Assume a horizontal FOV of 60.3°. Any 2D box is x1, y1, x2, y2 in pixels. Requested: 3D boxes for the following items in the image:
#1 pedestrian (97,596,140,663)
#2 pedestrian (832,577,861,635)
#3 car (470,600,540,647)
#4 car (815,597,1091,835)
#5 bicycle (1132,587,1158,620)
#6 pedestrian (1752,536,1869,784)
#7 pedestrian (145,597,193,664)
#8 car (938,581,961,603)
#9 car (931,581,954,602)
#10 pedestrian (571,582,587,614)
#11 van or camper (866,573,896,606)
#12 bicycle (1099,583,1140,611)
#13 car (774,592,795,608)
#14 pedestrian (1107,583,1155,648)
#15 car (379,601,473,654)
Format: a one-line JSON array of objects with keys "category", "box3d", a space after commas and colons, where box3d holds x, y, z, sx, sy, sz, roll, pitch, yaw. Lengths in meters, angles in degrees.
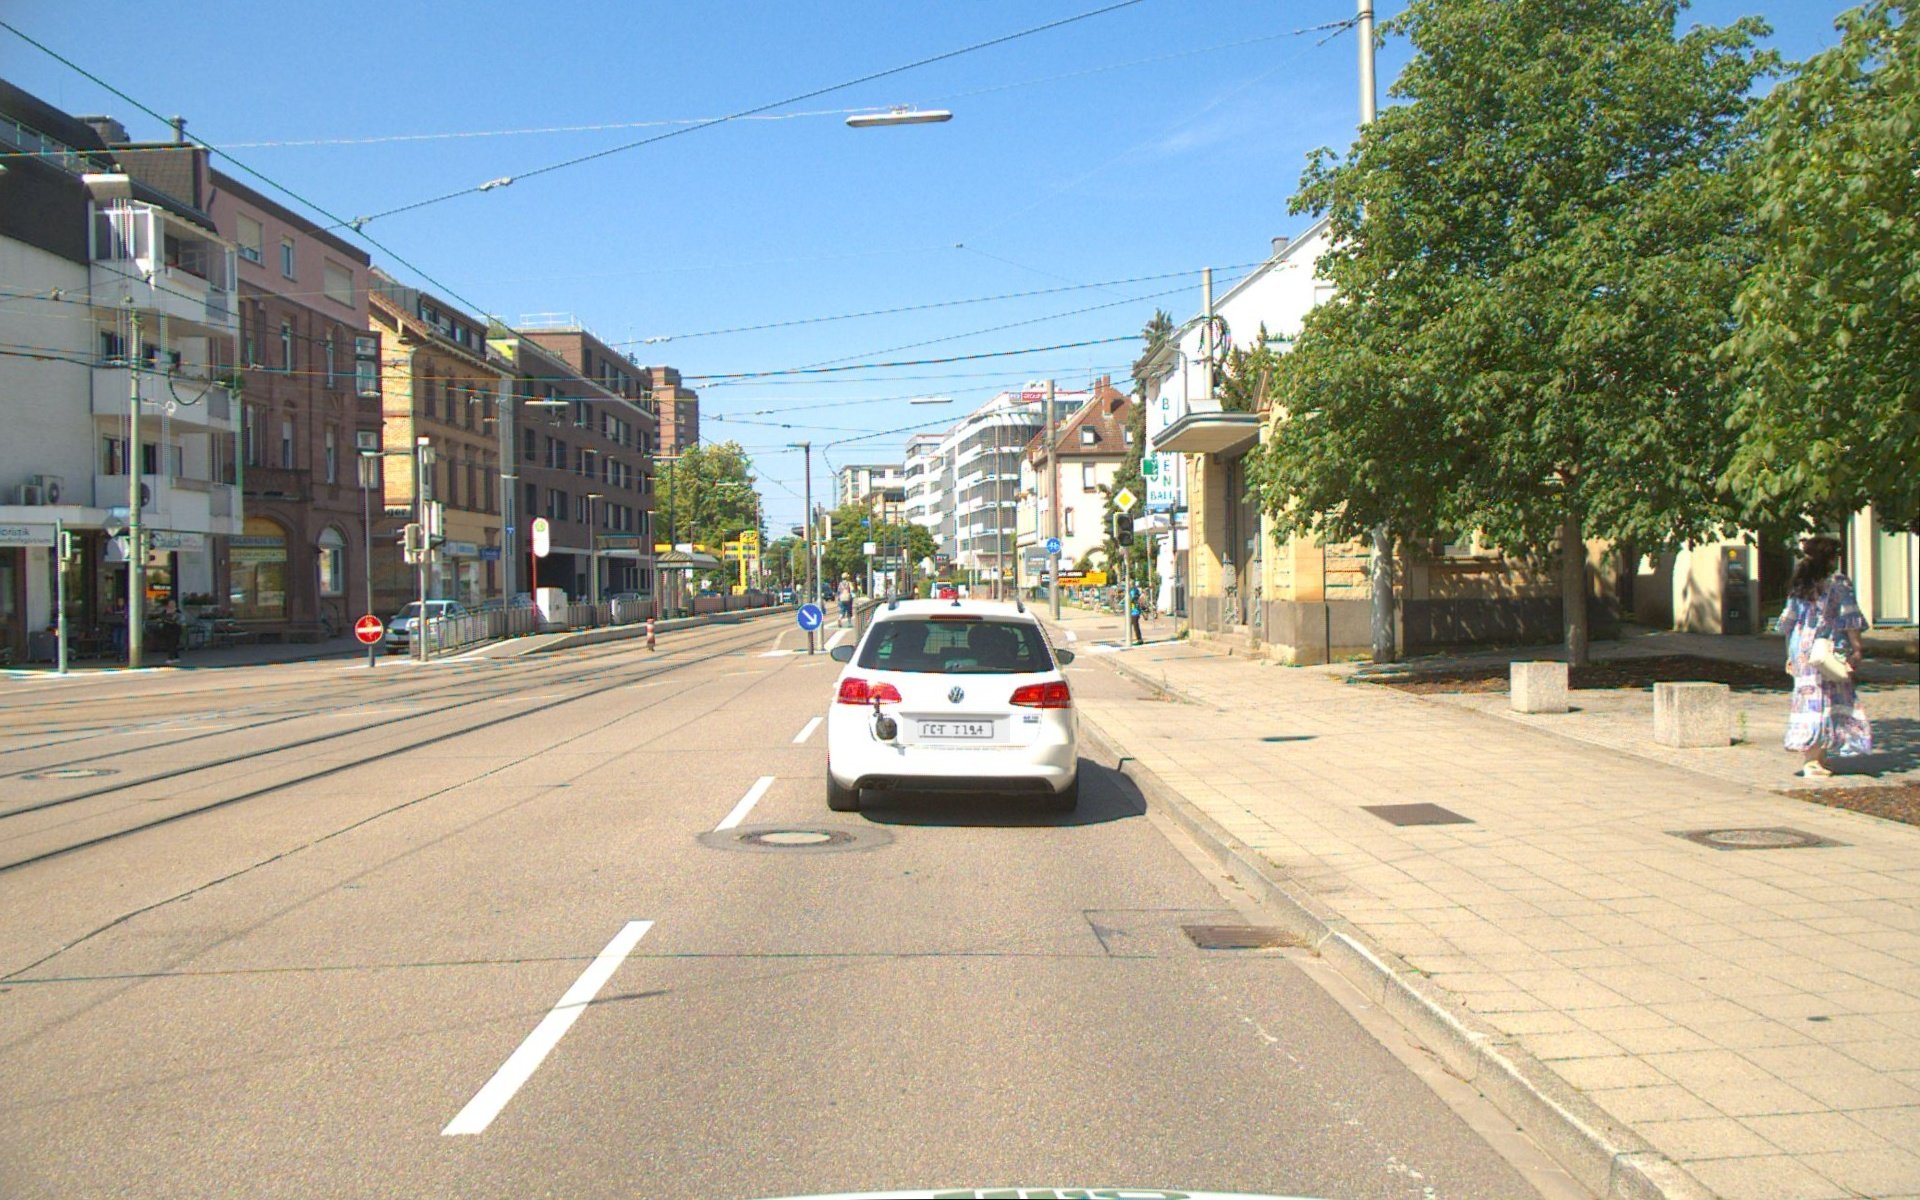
[{"category": "pedestrian", "box3d": [-21.388, 0.742, 42.050, 0.665, 1.676, 0.732, -1, 0, -1]}, {"category": "pedestrian", "box3d": [-3.630, 0.187, 52.812, 0.809, 1.841, 0.833, -1, 0, 0]}, {"category": "car", "box3d": [-15.555, 0.787, 56.673, 1.541, 1.484, 3.811, -2, 0, -4]}, {"category": "car", "box3d": [0.020, 0.724, 12.334, 1.716, 1.442, 3.854, 1, 0, 2]}, {"category": "bicycle", "box3d": [6.634, 0.117, 59.232, 0.710, 1.159, 2.197, -1, 0, 12]}, {"category": "pedestrian", "box3d": [6.084, 0.415, 11.860, 0.636, 1.711, 0.707, -1, 0, 21]}, {"category": "pedestrian", "box3d": [-20.301, 0.784, 42.472, 0.860, 1.676, 0.680, -1, 0, -1]}, {"category": "car", "box3d": [-1.014, -0.815, 160.980, 1.955, 2.049, 3.996, -1, 1, -5]}, {"category": "car", "box3d": [-1.747, -0.830, 166.391, 1.955, 2.049, 3.996, -1, 1, -5]}, {"category": "pedestrian", "box3d": [-21.684, -0.126, 94.124, 0.710, 1.822, 0.964, 0, 0, -1]}, {"category": "van or camper", "box3d": [-8.118, -1.057, 170.204, 2.885, 3.235, 6.610, -1, 1, -3]}, {"category": "bicycle", "box3d": [6.766, -0.130, 70.374, 1.677, 1.150, 0.526, -1, 0, 1]}, {"category": "car", "box3d": [-17.271, -0.038, 162.697, 1.634, 1.492, 3.773, -1, 0, -1]}, {"category": "pedestrian", "box3d": [4.110, 0.365, 39.778, 0.769, 1.536, 0.852, -1, 0, 45]}, {"category": "car", "box3d": [-15.700, 0.779, 48.766, 1.593, 1.456, 3.961, 0, 0, -2]}]
